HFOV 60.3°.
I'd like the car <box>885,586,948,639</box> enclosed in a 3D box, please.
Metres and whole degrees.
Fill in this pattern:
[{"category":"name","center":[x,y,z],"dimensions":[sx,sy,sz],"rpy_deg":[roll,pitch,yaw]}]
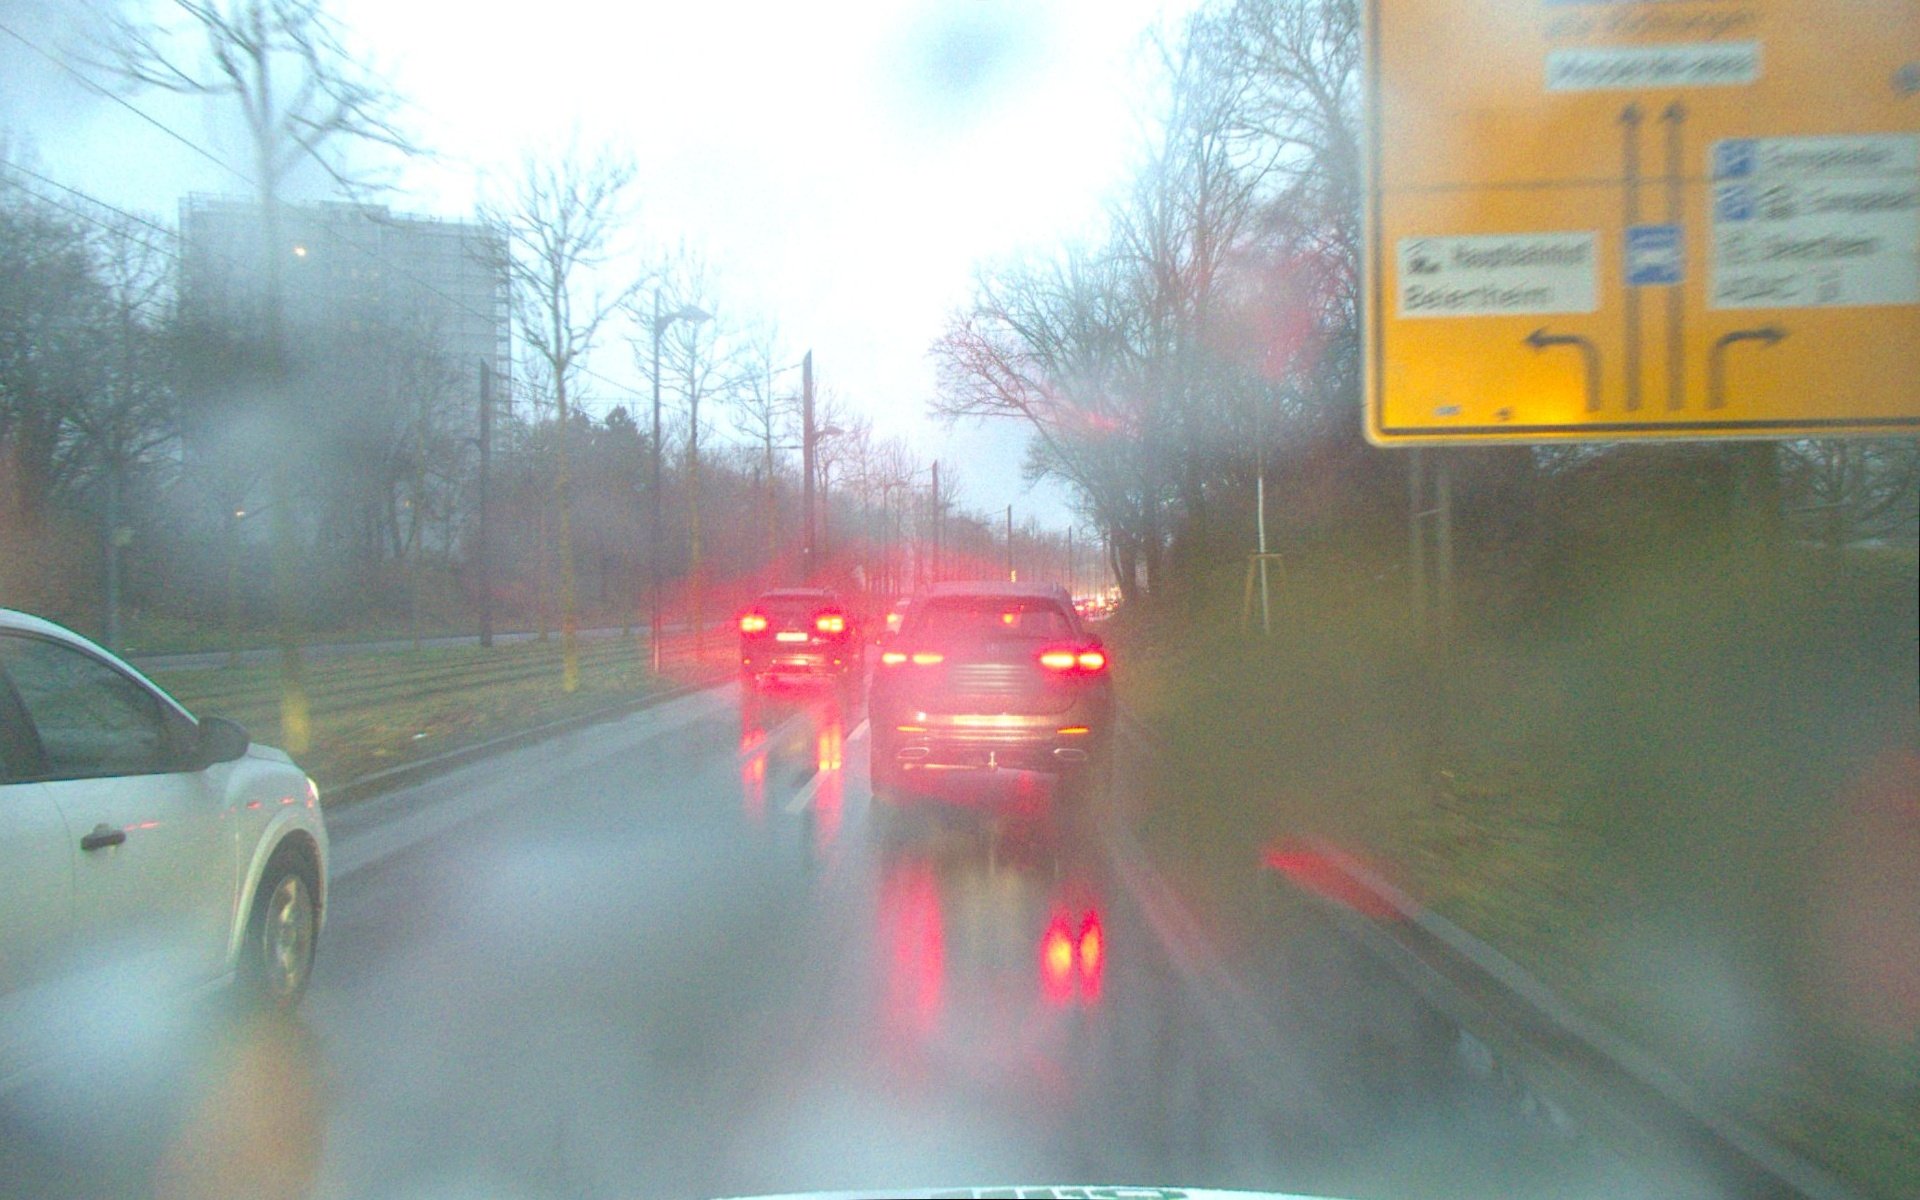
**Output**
[{"category":"car","center":[-1.384,0.385,54.522],"dimensions":[1.841,1.621,4.001],"rpy_deg":[-1,1,1]}]

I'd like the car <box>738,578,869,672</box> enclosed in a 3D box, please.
[{"category":"car","center":[-2.634,0.381,28.706],"dimensions":[1.841,1.485,4.000],"rpy_deg":[-1,1,0]}]

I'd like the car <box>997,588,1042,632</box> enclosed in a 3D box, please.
[{"category":"car","center":[2.266,0.366,62.966],"dimensions":[1.673,1.585,3.997],"rpy_deg":[-1,0,2]}]

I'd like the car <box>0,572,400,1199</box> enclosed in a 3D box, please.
[{"category":"car","center":[-3.080,0.719,4.460],"dimensions":[1.673,1.551,4.135],"rpy_deg":[-1,0,1]}]

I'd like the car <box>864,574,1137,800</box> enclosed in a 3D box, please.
[{"category":"car","center":[0.275,0.606,13.850],"dimensions":[1.957,1.612,4.000],"rpy_deg":[0,0,-1]}]
